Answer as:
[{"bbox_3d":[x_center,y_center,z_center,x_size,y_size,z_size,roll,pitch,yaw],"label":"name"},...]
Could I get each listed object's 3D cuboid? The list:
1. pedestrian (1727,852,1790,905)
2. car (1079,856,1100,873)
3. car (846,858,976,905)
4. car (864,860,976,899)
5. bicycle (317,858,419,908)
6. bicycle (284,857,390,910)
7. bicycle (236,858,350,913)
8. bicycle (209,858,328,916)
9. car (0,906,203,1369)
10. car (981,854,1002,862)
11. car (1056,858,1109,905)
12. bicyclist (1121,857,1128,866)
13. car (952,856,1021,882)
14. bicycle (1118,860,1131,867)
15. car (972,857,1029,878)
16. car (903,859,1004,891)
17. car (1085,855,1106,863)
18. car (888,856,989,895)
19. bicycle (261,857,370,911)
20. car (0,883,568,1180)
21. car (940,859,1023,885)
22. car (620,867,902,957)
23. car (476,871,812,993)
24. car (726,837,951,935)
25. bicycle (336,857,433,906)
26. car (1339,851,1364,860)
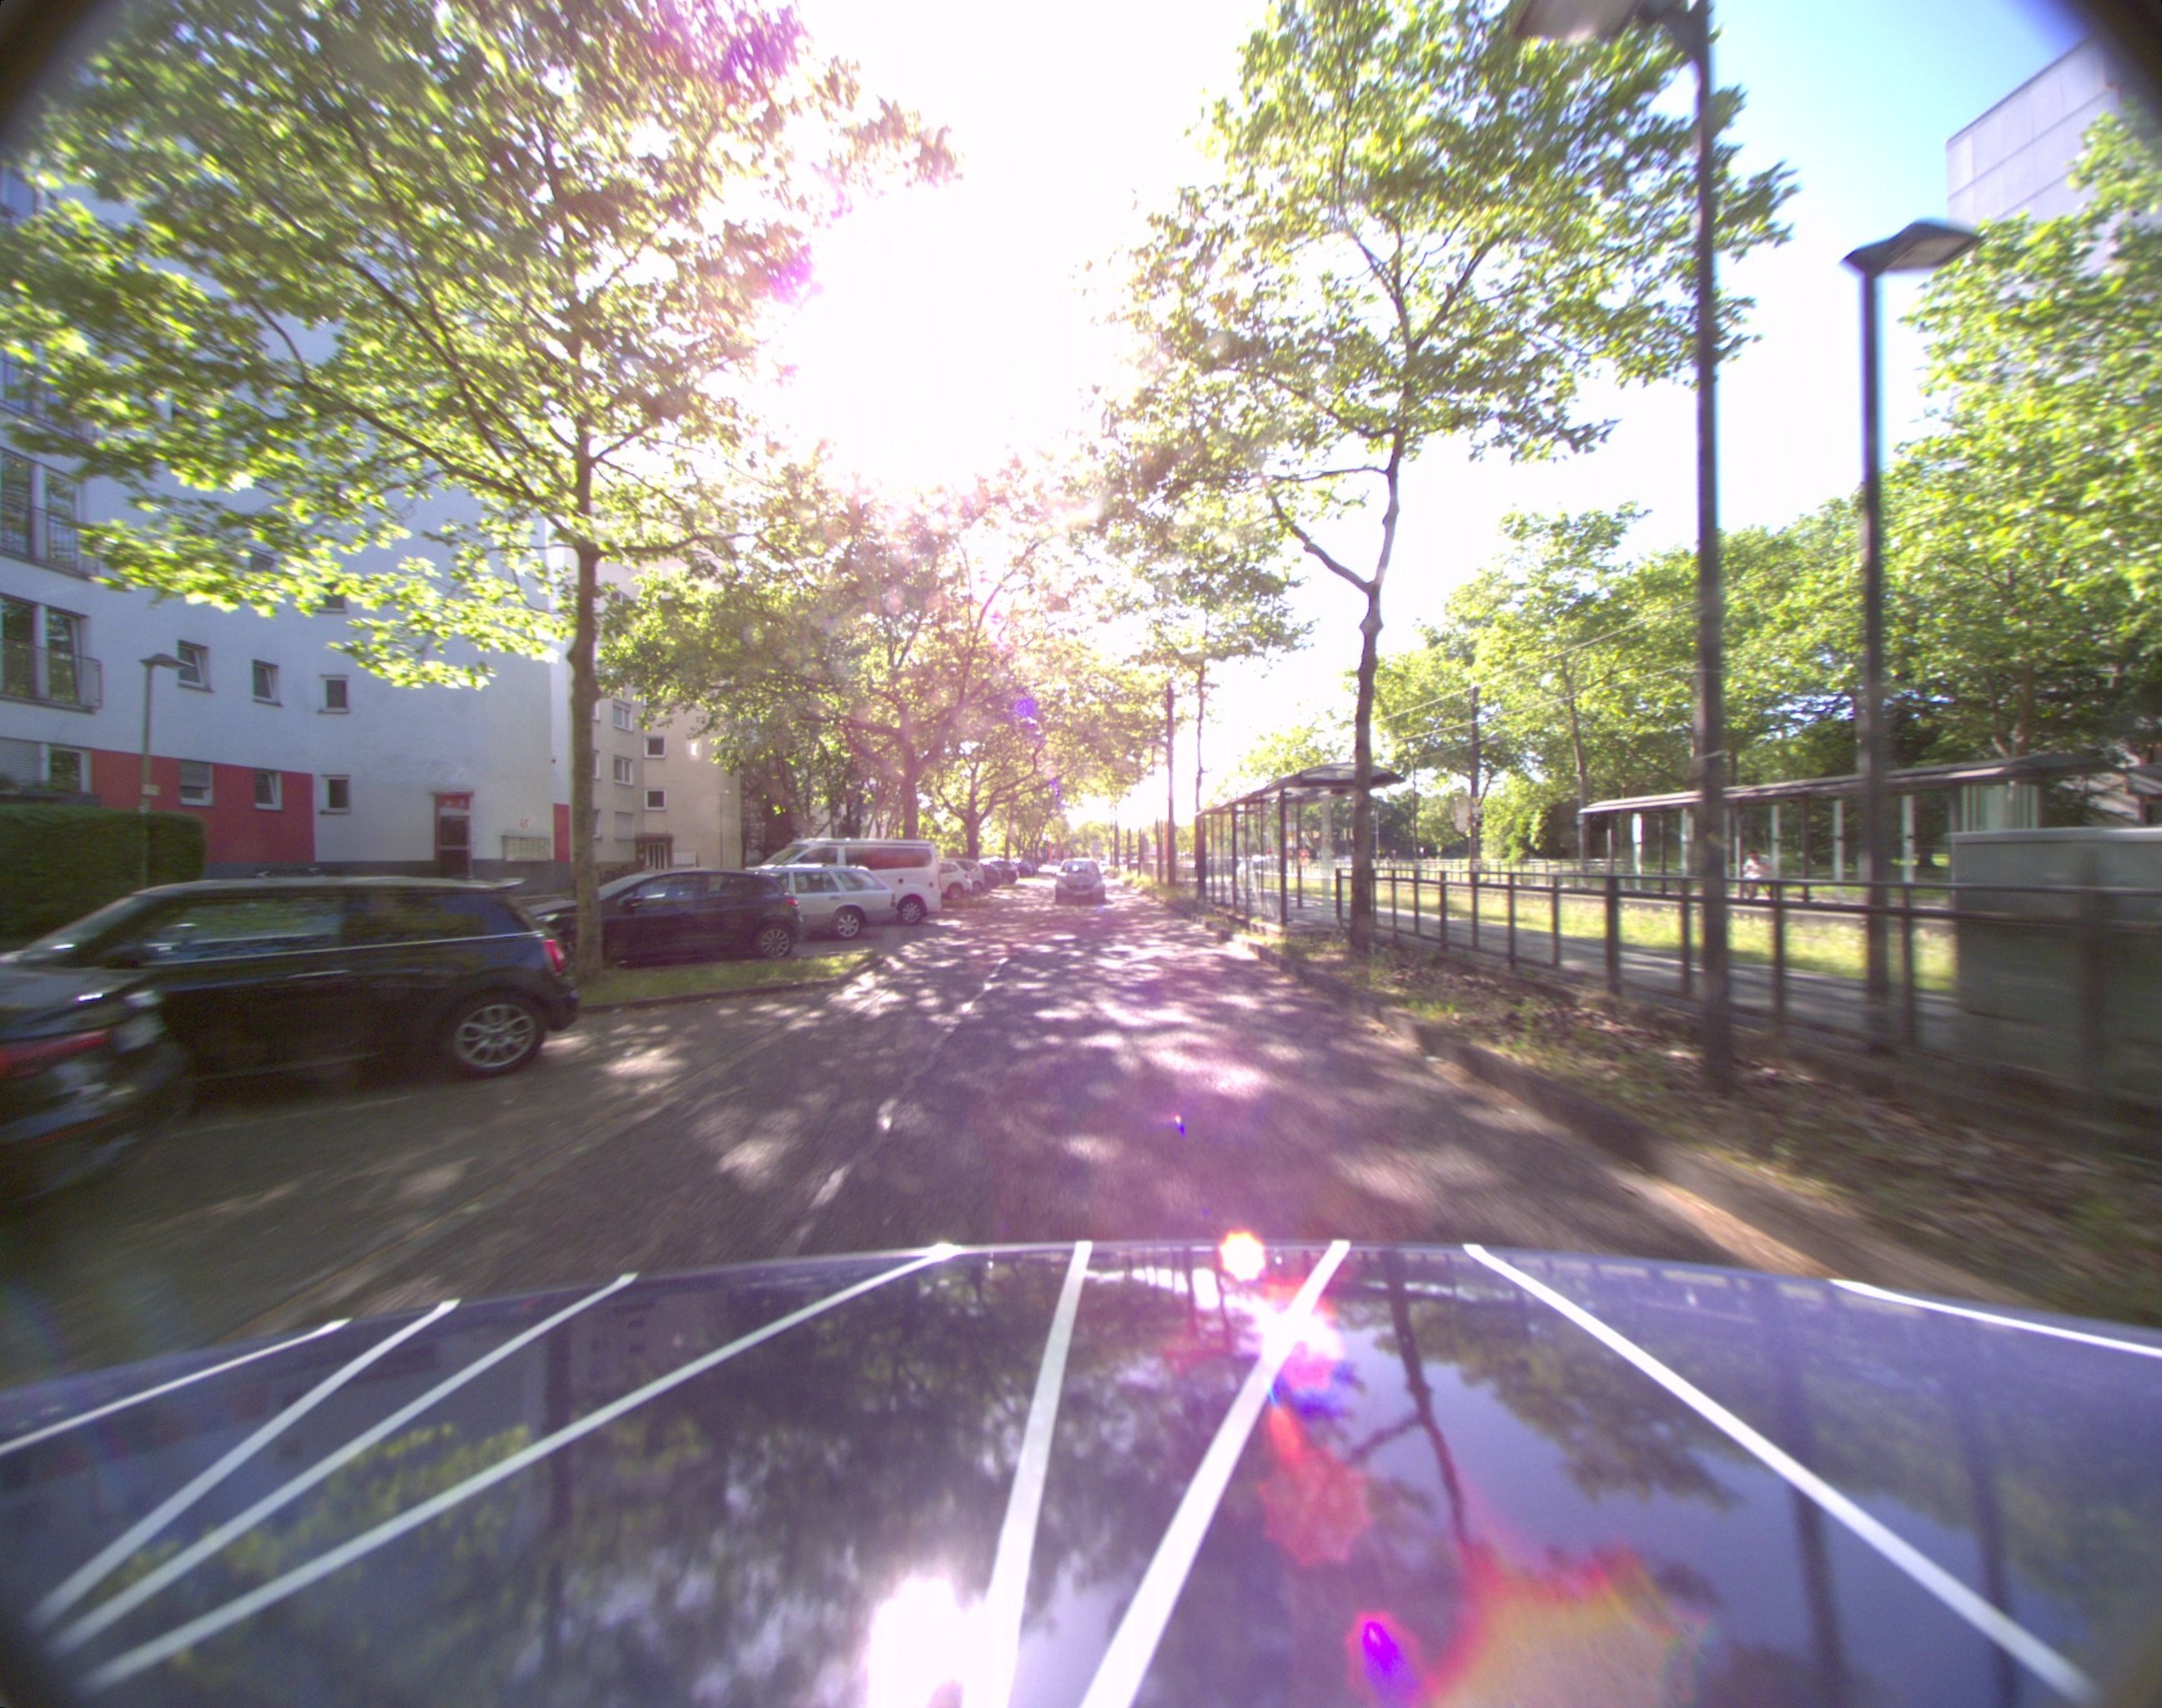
[{"bbox_3d":[15.482,0.546,17.373,0.768,1.176,0.763,0,0,1],"label":"pedestrian"},{"bbox_3d":[0.784,0.992,70.027,1.799,1.529,4.000,0,0,-2],"label":"car"},{"bbox_3d":[-5.992,0.952,27.173,1.794,1.501,4.222,2,0,43],"label":"car"},{"bbox_3d":[-6.339,0.986,30.216,1.826,1.411,4.009,2,0,45],"label":"car"},{"bbox_3d":[-16.959,0.684,18.094,1.799,1.123,0.550,2,0,-5],"label":"bicycle"},{"bbox_3d":[-17.100,0.674,17.479,1.799,1.123,0.500,2,0,-5],"label":"bicycle"},{"bbox_3d":[-17.017,0.674,16.437,1.799,1.123,0.500,2,0,-5],"label":"bicycle"},{"bbox_3d":[-16.971,0.681,15.900,1.799,1.123,0.500,2,0,-5],"label":"bicycle"},{"bbox_3d":[-5.744,0.973,1.988,4.266,1.453,1.795,1,0,-40],"label":"car"},{"bbox_3d":[-20.135,0.887,171.156,4.545,1.825,1.803,0,0,26],"label":"car"},{"bbox_3d":[0.050,0.958,27.871,1.799,1.580,3.763,0,0,0],"label":"car"},{"bbox_3d":[6.932,1.230,121.001,0.955,1.469,0.704,-1,1,23],"label":"bicyclist"},{"bbox_3d":[-5.980,0.959,48.344,4.008,1.566,1.795,1,0,-40],"label":"car"},{"bbox_3d":[6.934,1.564,121.009,1.896,1.101,0.704,-1,0,23],"label":"bicycle"},{"bbox_3d":[-6.182,1.030,58.569,1.795,1.501,4.187,0,0,43],"label":"car"},{"bbox_3d":[-6.108,0.991,36.746,4.418,1.420,1.946,1,0,-39],"label":"car"},{"bbox_3d":[2.976,1.044,157.073,3.990,1.501,1.803,0,0,26],"label":"car"},{"bbox_3d":[-6.206,0.908,33.341,4.009,1.580,1.795,1,0,-42],"label":"car"},{"bbox_3d":[-17.051,0.674,16.949,1.799,1.123,0.500,2,0,-5],"label":"bicycle"},{"bbox_3d":[-5.893,0.969,4.931,4.009,1.459,1.777,1,0,-43],"label":"car"},{"bbox_3d":[-5.718,1.009,43.875,1.795,1.414,4.600,0,0,45],"label":"car"},{"bbox_3d":[-5.959,0.990,14.508,4.600,1.415,1.795,1,0,-41],"label":"car"},{"bbox_3d":[-6.247,0.991,11.122,3.932,1.408,1.795,1,0,-43],"label":"car"},{"bbox_3d":[-5.625,0.692,17.947,4.600,2.040,2.011,1,0,-40],"label":"car"},{"bbox_3d":[-17.064,0.676,18.632,1.799,1.123,0.500,2,0,-5],"label":"bicycle"},{"bbox_3d":[48.748,0.318,136.958,3.990,1.501,1.803,-1,-1,26],"label":"car"}]
